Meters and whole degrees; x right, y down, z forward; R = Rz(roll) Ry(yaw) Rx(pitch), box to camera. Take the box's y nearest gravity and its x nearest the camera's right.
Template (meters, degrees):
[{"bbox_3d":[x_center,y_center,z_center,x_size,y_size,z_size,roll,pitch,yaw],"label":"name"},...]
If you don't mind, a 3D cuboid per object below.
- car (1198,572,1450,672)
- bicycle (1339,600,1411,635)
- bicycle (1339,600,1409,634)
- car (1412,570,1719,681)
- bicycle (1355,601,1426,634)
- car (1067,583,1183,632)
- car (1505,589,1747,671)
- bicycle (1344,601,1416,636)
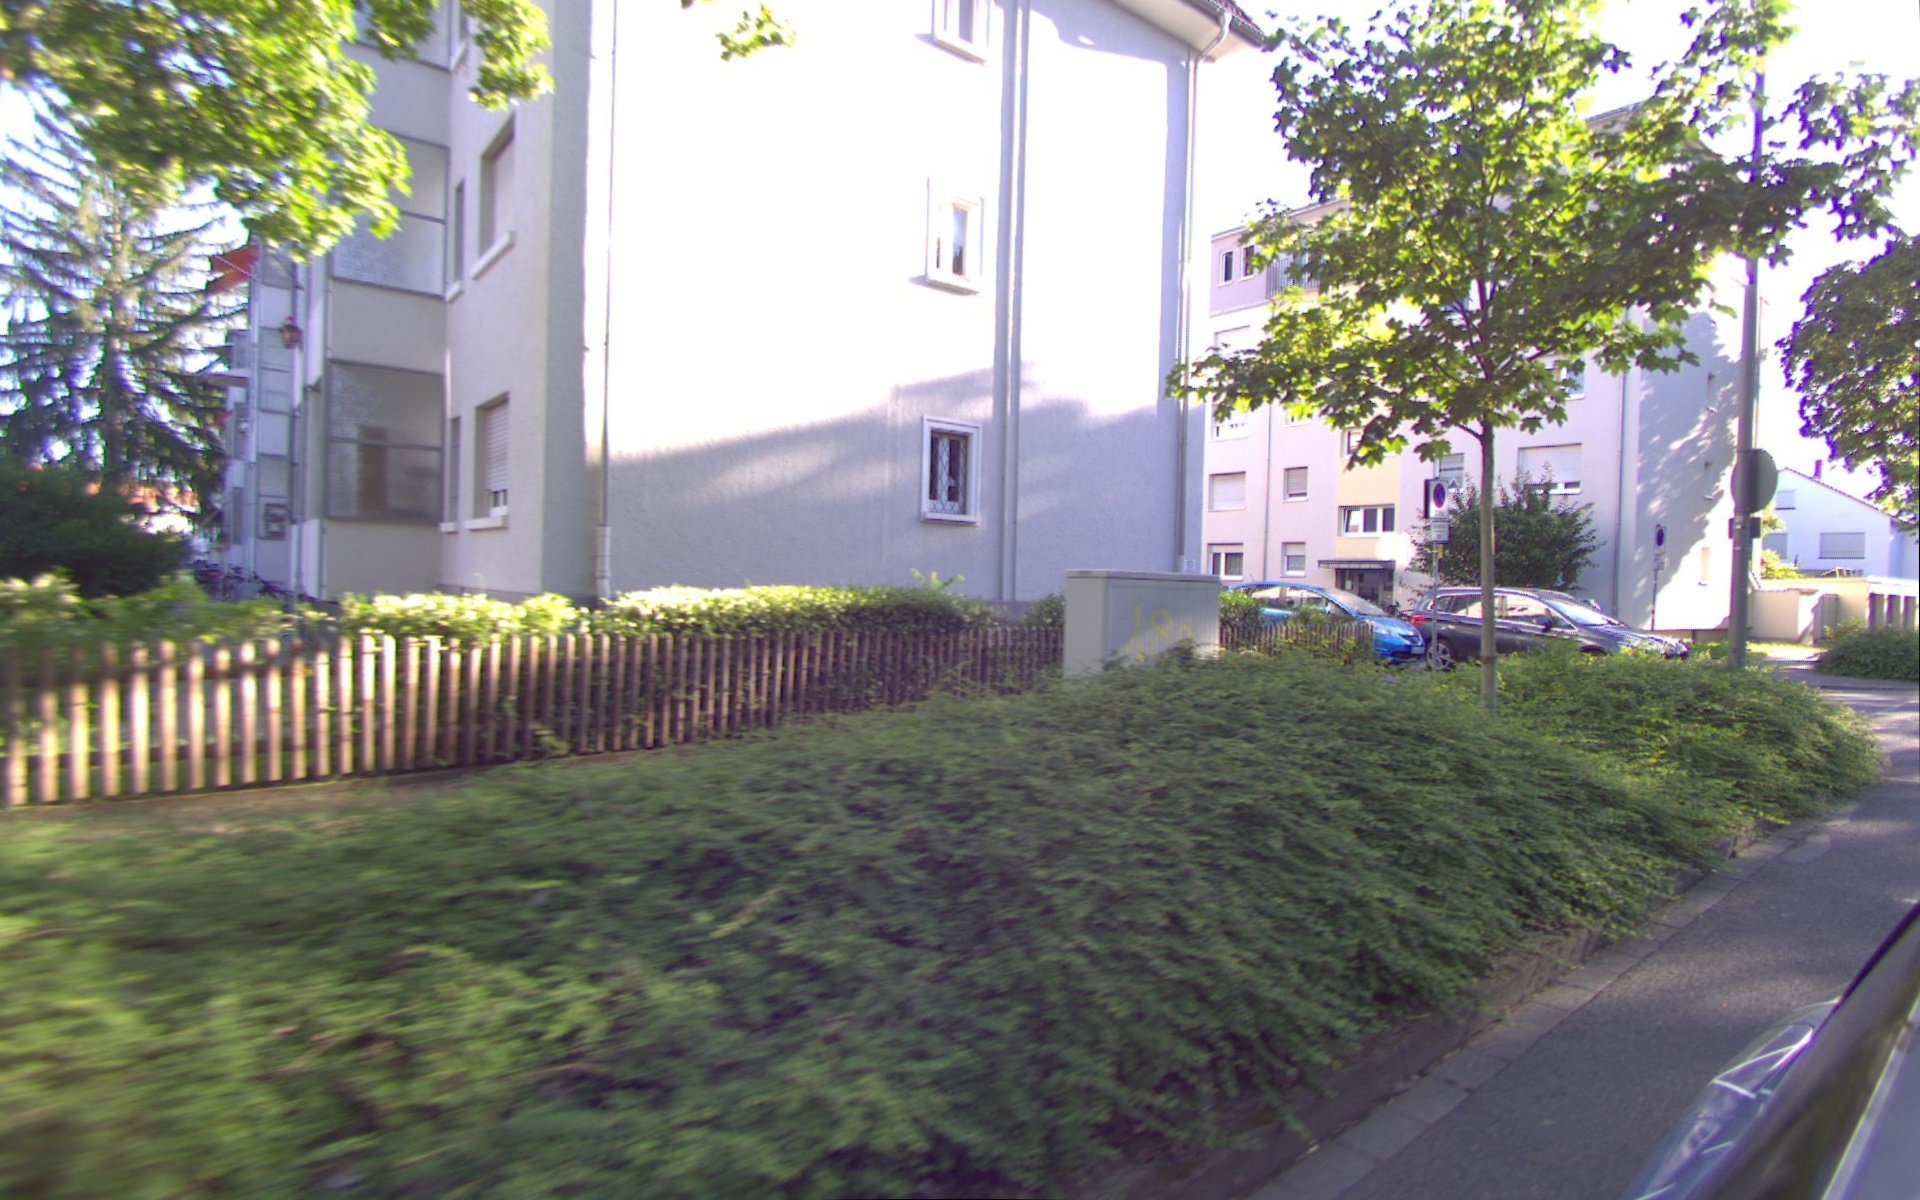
[{"bbox_3d":[6.595,0.342,18.654,1.778,1.601,3.995,2,0,-41],"label":"car"},{"bbox_3d":[12.448,0.512,30.419,0.536,0.971,1.973,1,1,-41],"label":"bicycle"},{"bbox_3d":[12.688,0.514,31.064,0.536,0.971,1.973,1,1,-41],"label":"bicycle"},{"bbox_3d":[10.359,0.400,17.663,1.734,1.695,4.281,1,-1,-32],"label":"car"},{"bbox_3d":[13.283,0.527,31.250,0.536,0.971,1.973,1,1,-41],"label":"bicycle"},{"bbox_3d":[5.322,0.231,32.889,1.718,1.513,3.498,0,0,-39],"label":"car"},{"bbox_3d":[14.191,0.562,21.761,1.696,1.533,4.049,-1,1,-39],"label":"car"},{"bbox_3d":[12.305,0.525,29.682,0.536,0.971,1.904,1,1,-41],"label":"bicycle"}]
